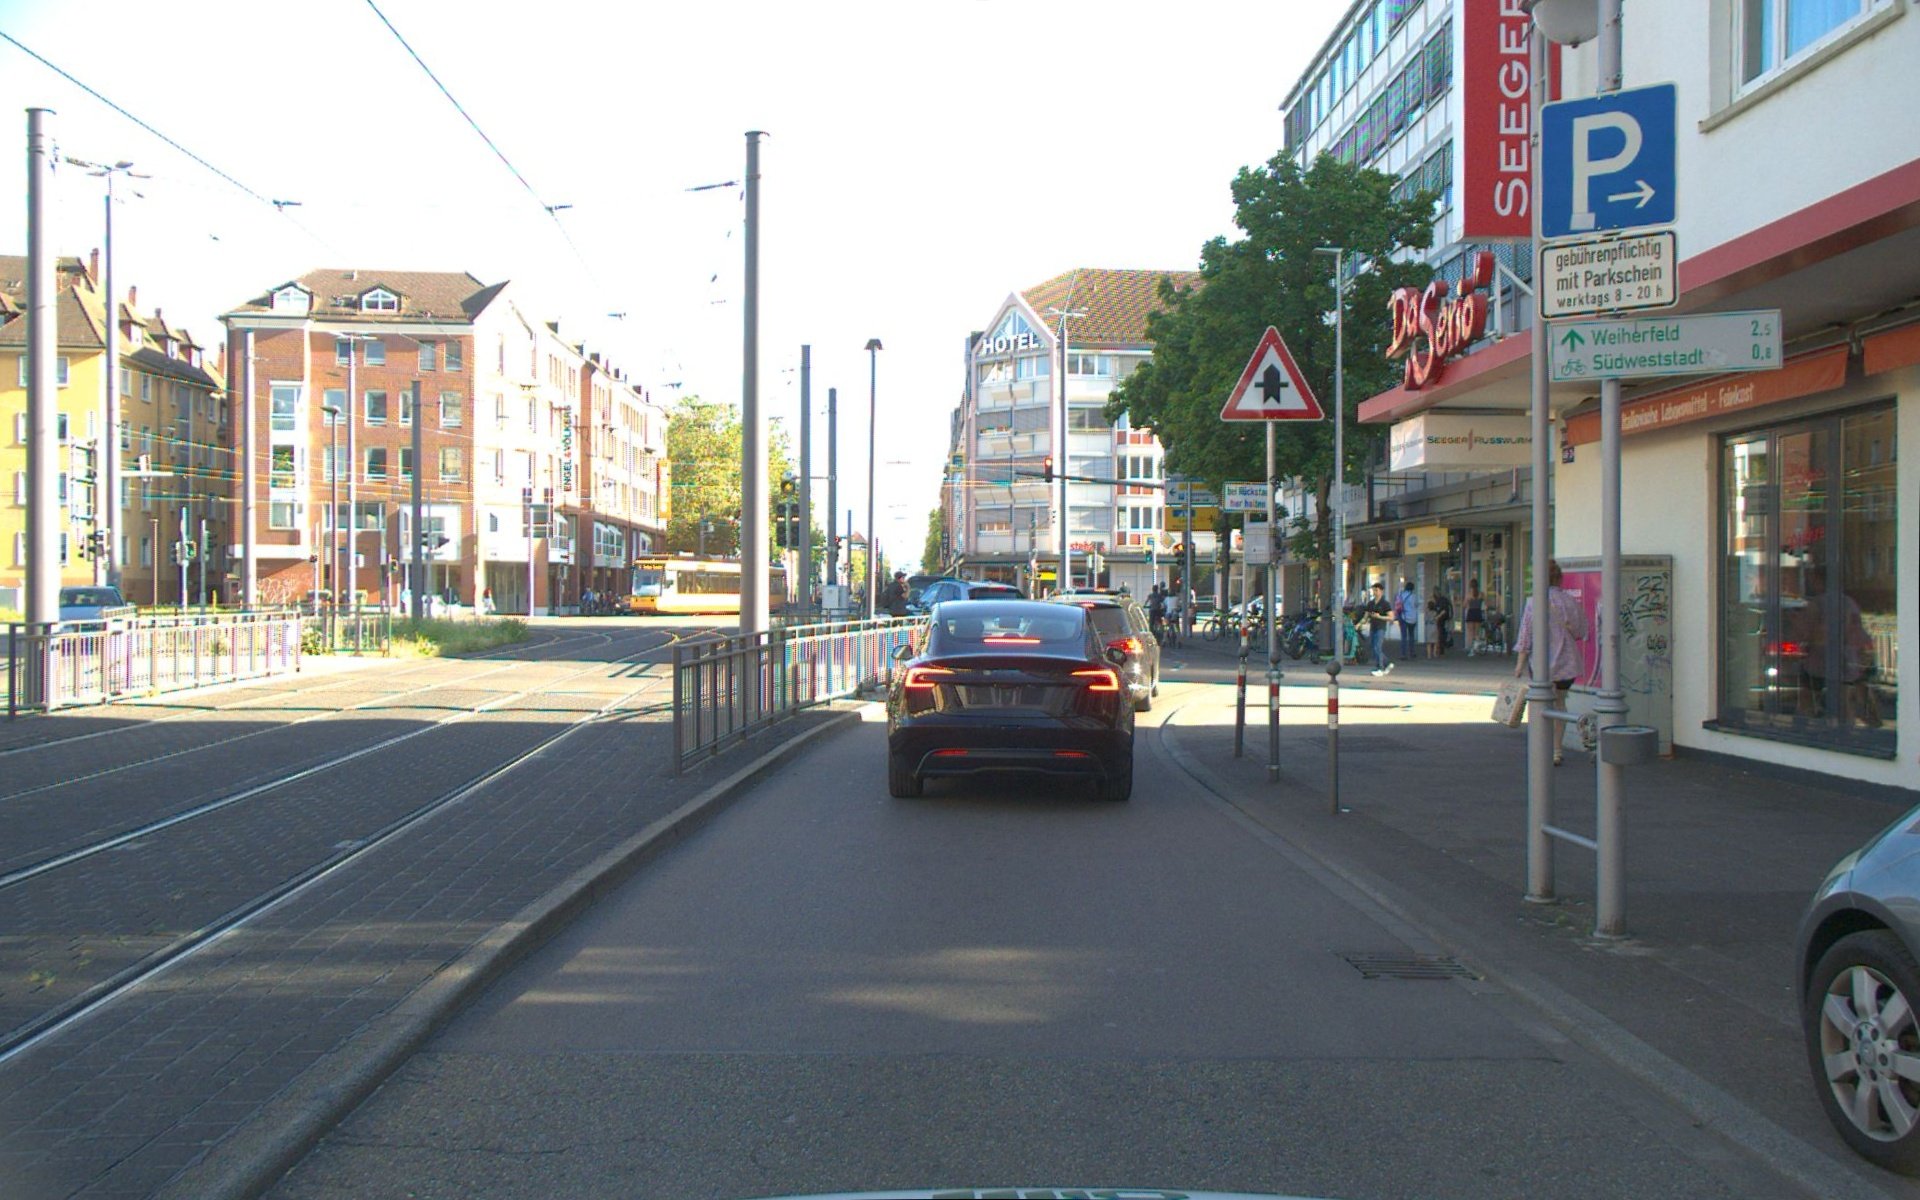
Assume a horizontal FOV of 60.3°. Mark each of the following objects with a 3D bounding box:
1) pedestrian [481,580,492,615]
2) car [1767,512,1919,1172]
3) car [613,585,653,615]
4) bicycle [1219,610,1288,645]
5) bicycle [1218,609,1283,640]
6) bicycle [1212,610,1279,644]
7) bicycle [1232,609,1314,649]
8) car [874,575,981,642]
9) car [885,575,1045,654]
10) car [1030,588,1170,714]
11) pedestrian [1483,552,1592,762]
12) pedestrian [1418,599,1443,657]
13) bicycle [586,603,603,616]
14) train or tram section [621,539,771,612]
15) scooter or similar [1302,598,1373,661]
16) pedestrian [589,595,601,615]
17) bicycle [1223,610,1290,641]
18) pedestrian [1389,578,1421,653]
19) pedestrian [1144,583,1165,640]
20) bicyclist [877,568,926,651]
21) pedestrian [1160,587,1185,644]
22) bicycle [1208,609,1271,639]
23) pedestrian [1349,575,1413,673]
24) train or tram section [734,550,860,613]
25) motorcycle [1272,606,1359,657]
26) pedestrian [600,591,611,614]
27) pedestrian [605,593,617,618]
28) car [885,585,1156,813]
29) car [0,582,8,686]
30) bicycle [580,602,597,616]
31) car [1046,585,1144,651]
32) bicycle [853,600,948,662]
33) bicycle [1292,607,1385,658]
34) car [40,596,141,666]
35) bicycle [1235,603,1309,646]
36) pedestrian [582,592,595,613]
[{"bbox_3d":[-28.060,-0.172,97.929,0.555,2.049,0.349,2,0,-16],"label":"pedestrian"},{"bbox_3d":[3.275,0.604,3.077,1.710,1.660,3.648,-1,1,-1],"label":"car"},{"bbox_3d":[-22.160,-0.007,112.176,1.953,2.049,3.999,0,0,-1],"label":"car"},{"bbox_3d":[8.395,0.784,47.345,1.885,0.967,0.526,1,0,0],"label":"bicycle"},{"bbox_3d":[8.860,0.756,50.502,1.885,0.906,0.526,1,0,0],"label":"bicycle"},{"bbox_3d":[8.343,0.784,48.360,1.885,0.967,0.526,1,0,0],"label":"bicycle"},{"bbox_3d":[8.020,0.745,42.387,2.009,0.999,0.483,1,0,0],"label":"bicycle"},{"bbox_3d":[-0.875,0.185,41.873,1.793,1.545,4.203,2,0,-14],"label":"car"},{"bbox_3d":[0.036,0.271,35.612,1.761,1.545,4.183,2,0,-26],"label":"car"},{"bbox_3d":[1.880,0.590,21.749,1.618,1.443,4.003,2,1,6],"label":"car"},{"bbox_3d":[4.926,0.469,14.100,0.800,1.712,0.714,2,0,22],"label":"pedestrian"},{"bbox_3d":[10.655,0.636,37.447,0.411,1.303,0.531,0,0,0],"label":"pedestrian"},{"bbox_3d":[-24.305,0.643,110.088,0.688,0.869,2.053,0,0,-1],"label":"bicycle"},{"bbox_3d":[-14.981,-1.292,95.807,2.618,3.780,14.200,2,0,16],"label":"train or tram section"},{"bbox_3d":[8.186,0.645,35.846,1.392,1.340,0.690,1,-2,-27],"label":"scooter or similar"},{"bbox_3d":[-24.296,0.325,110.008,0.682,1.331,0.564,0,0,-2],"label":"pedestrian"},{"bbox_3d":[8.847,0.753,49.367,1.885,0.903,0.526,1,0,0],"label":"bicycle"},{"bbox_3d":[10.002,0.356,37.179,0.583,1.670,0.466,-1,0,0],"label":"pedestrian"},{"bbox_3d":[5.933,0.358,50.395,0.550,1.712,0.750,1,0,4],"label":"pedestrian"},{"bbox_3d":[-1.121,0.178,31.467,0.821,1.526,0.559,2,0,-9],"label":"bicyclist"},{"bbox_3d":[6.205,0.436,48.302,0.616,1.642,0.643,1,0,2],"label":"pedestrian"},{"bbox_3d":[8.697,0.743,51.524,1.885,0.906,0.526,1,0,0],"label":"bicycle"},{"bbox_3d":[7.746,0.437,30.457,0.992,1.772,0.524,2,-1,-26],"label":"pedestrian"},{"bbox_3d":[-10.547,-1.114,109.941,2.581,3.783,15.394,2,0,17],"label":"train or tram section"},{"bbox_3d":[8.663,0.761,40.320,1.951,1.147,0.596,2,0,-2],"label":"motorcycle"},{"bbox_3d":[-24.042,0.161,112.201,0.698,1.582,0.563,2,0,-10],"label":"pedestrian"},{"bbox_3d":[-24.123,0.351,114.320,0.698,1.696,0.563,2,0,-10],"label":"pedestrian"},{"bbox_3d":[0.338,0.681,13.150,1.812,1.510,3.785,2,0,-3],"label":"car"},{"bbox_3d":[-14.605,0.508,22.526,1.735,1.538,4.263,0,0,-14],"label":"car"},{"bbox_3d":[-24.229,0.569,107.834,0.688,0.869,2.053,0,0,-1],"label":"bicycle"},{"bbox_3d":[3.388,0.431,42.167,1.789,1.545,3.644,2,0,-6],"label":"car"},{"bbox_3d":[-1.136,0.588,31.343,1.696,1.107,0.677,2,0,-9],"label":"bicycle"},{"bbox_3d":[8.743,0.744,38.234,2.009,1.141,0.483,1,0,0],"label":"bicycle"},{"bbox_3d":[-21.593,0.719,41.218,1.757,1.595,4.264,-1,1,-22],"label":"car"},{"bbox_3d":[8.382,0.663,44.446,1.885,1.116,0.554,1,0,0],"label":"bicycle"},{"bbox_3d":[-24.225,0.139,107.894,0.697,1.365,0.666,0,0,-1],"label":"pedestrian"}]
